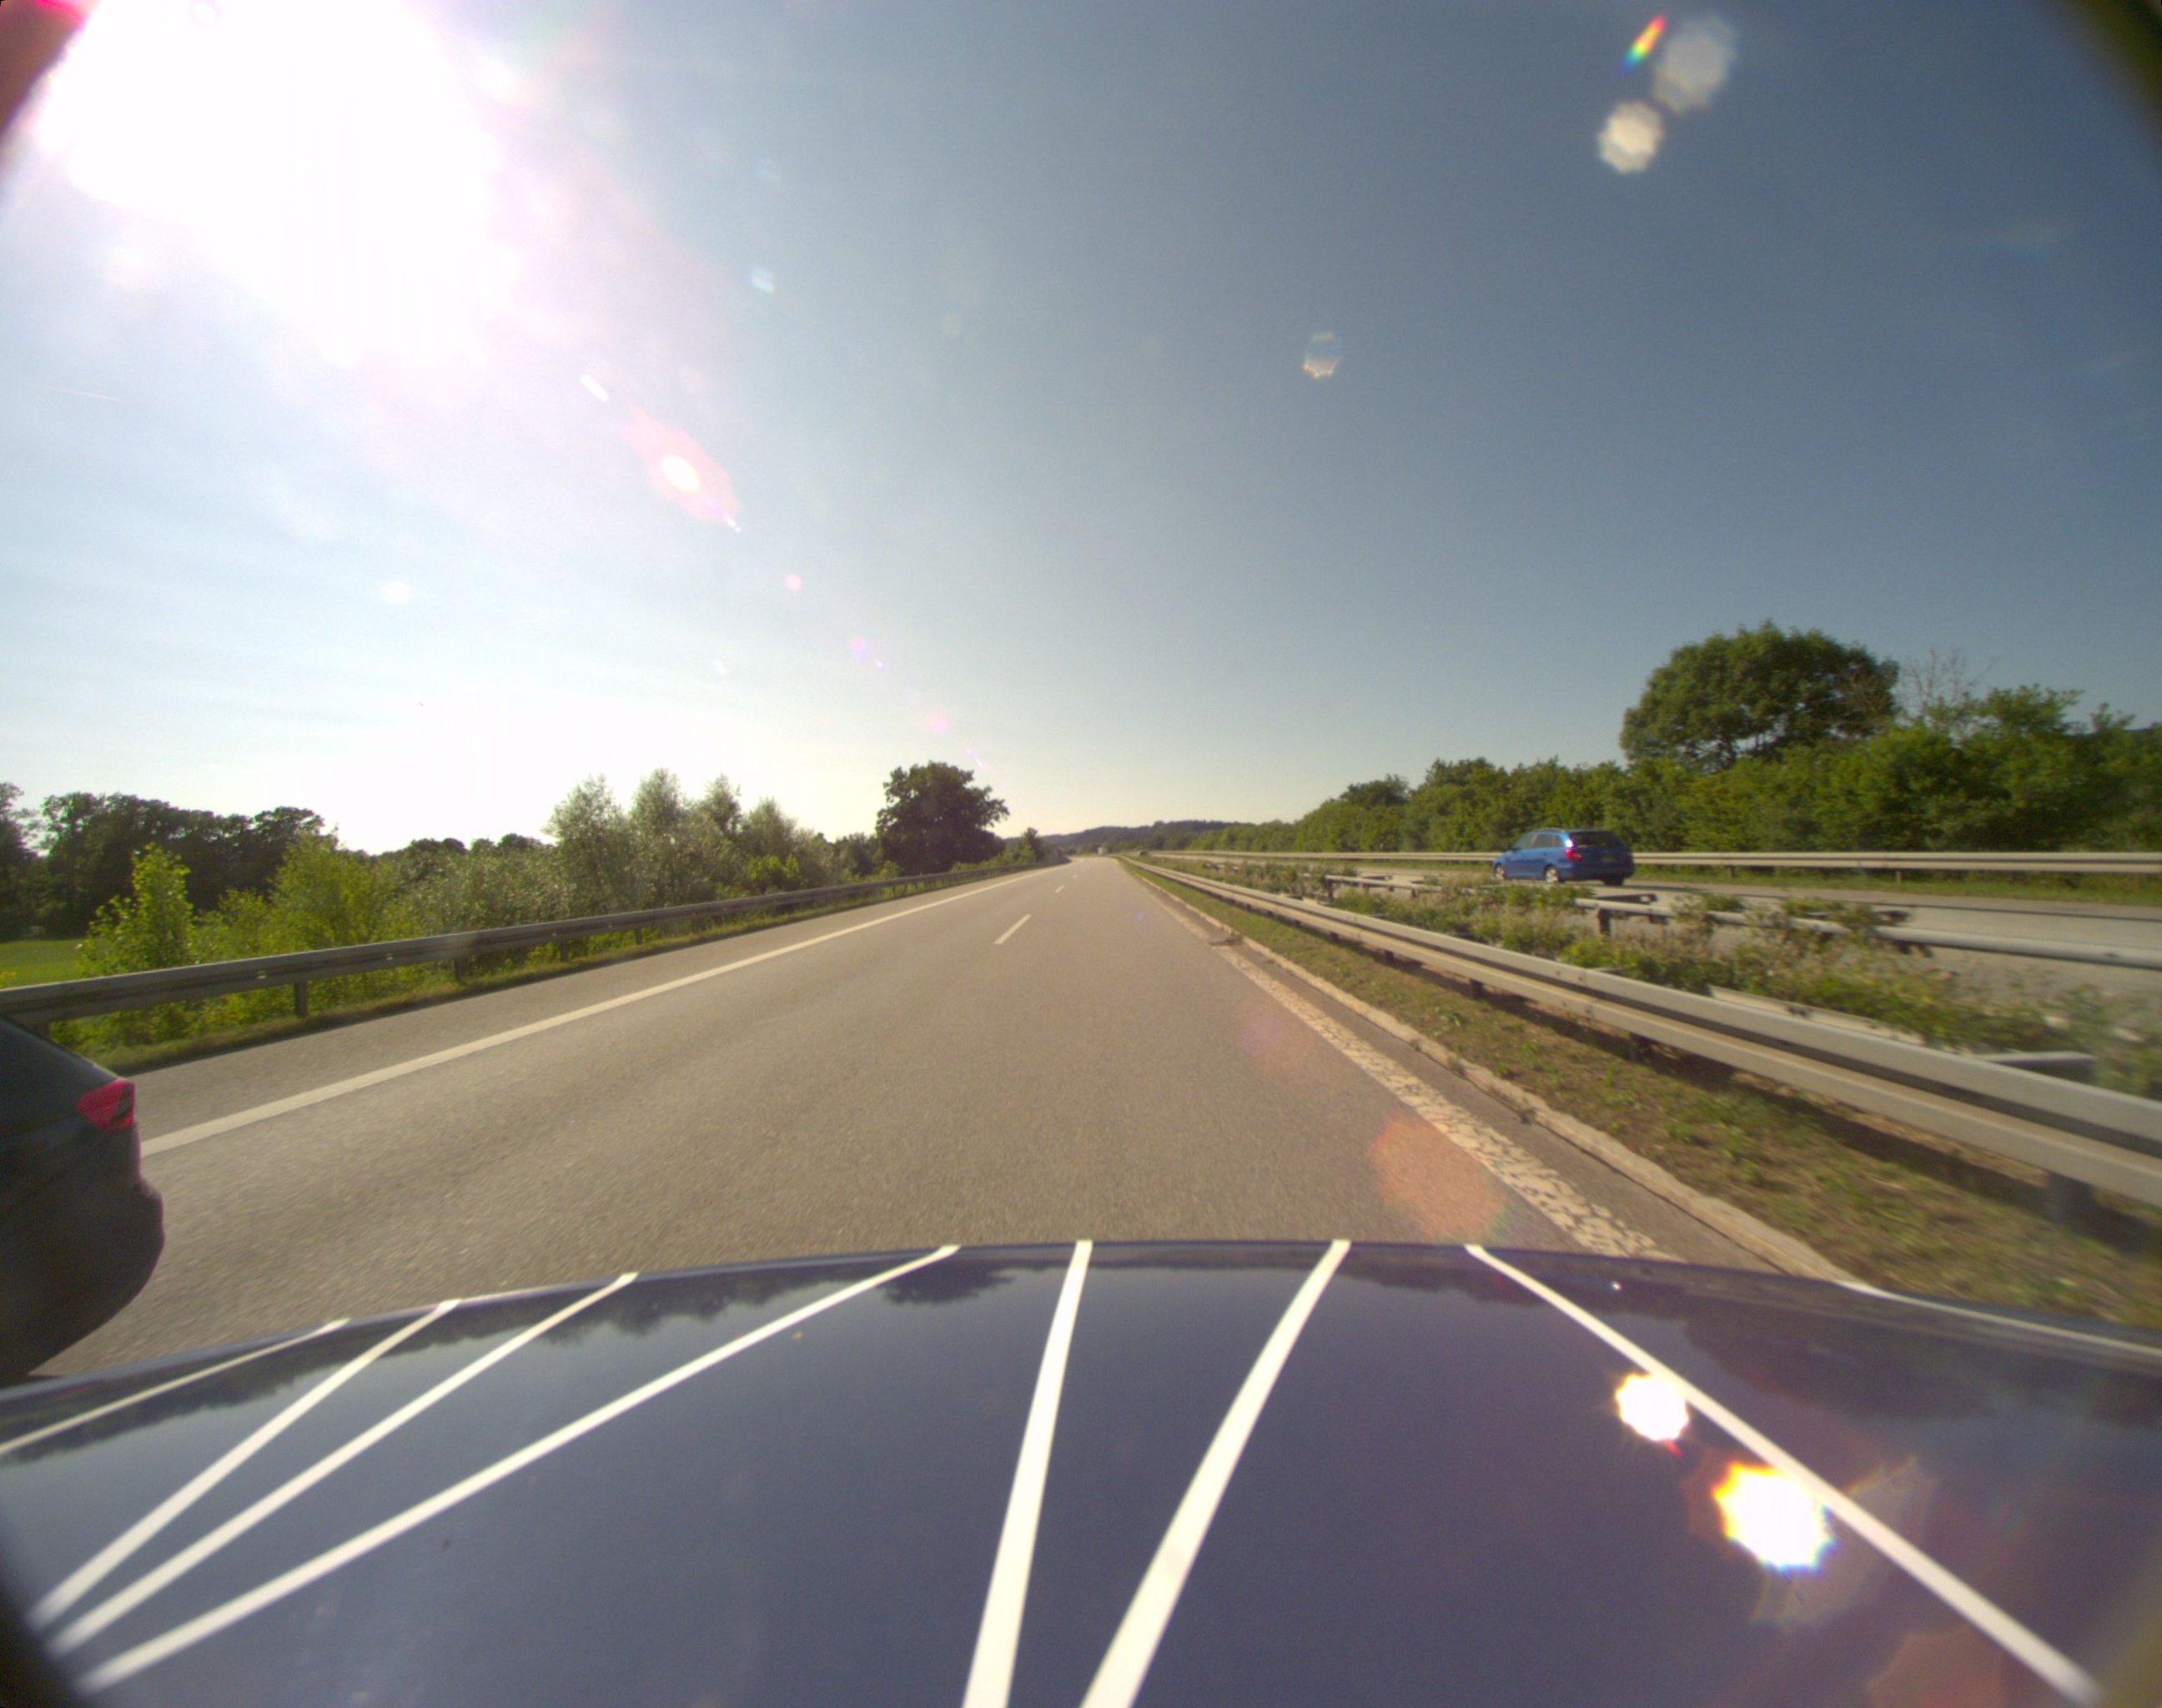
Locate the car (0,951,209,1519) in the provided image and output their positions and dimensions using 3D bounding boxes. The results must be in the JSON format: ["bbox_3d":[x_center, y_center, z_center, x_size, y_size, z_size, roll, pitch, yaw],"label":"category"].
[{"bbox_3d":[-3.658,1.056,0.182,1.723,1.392,4.413,-2,1,0],"label":"car"}]

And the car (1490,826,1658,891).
[{"bbox_3d":[12.263,0.092,19.242,1.680,1.433,4.000,-1,0,0],"label":"car"}]

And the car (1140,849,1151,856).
[{"bbox_3d":[13.965,-0.322,165.821,1.914,1.579,4.916,-2,0,0],"label":"car"}]
